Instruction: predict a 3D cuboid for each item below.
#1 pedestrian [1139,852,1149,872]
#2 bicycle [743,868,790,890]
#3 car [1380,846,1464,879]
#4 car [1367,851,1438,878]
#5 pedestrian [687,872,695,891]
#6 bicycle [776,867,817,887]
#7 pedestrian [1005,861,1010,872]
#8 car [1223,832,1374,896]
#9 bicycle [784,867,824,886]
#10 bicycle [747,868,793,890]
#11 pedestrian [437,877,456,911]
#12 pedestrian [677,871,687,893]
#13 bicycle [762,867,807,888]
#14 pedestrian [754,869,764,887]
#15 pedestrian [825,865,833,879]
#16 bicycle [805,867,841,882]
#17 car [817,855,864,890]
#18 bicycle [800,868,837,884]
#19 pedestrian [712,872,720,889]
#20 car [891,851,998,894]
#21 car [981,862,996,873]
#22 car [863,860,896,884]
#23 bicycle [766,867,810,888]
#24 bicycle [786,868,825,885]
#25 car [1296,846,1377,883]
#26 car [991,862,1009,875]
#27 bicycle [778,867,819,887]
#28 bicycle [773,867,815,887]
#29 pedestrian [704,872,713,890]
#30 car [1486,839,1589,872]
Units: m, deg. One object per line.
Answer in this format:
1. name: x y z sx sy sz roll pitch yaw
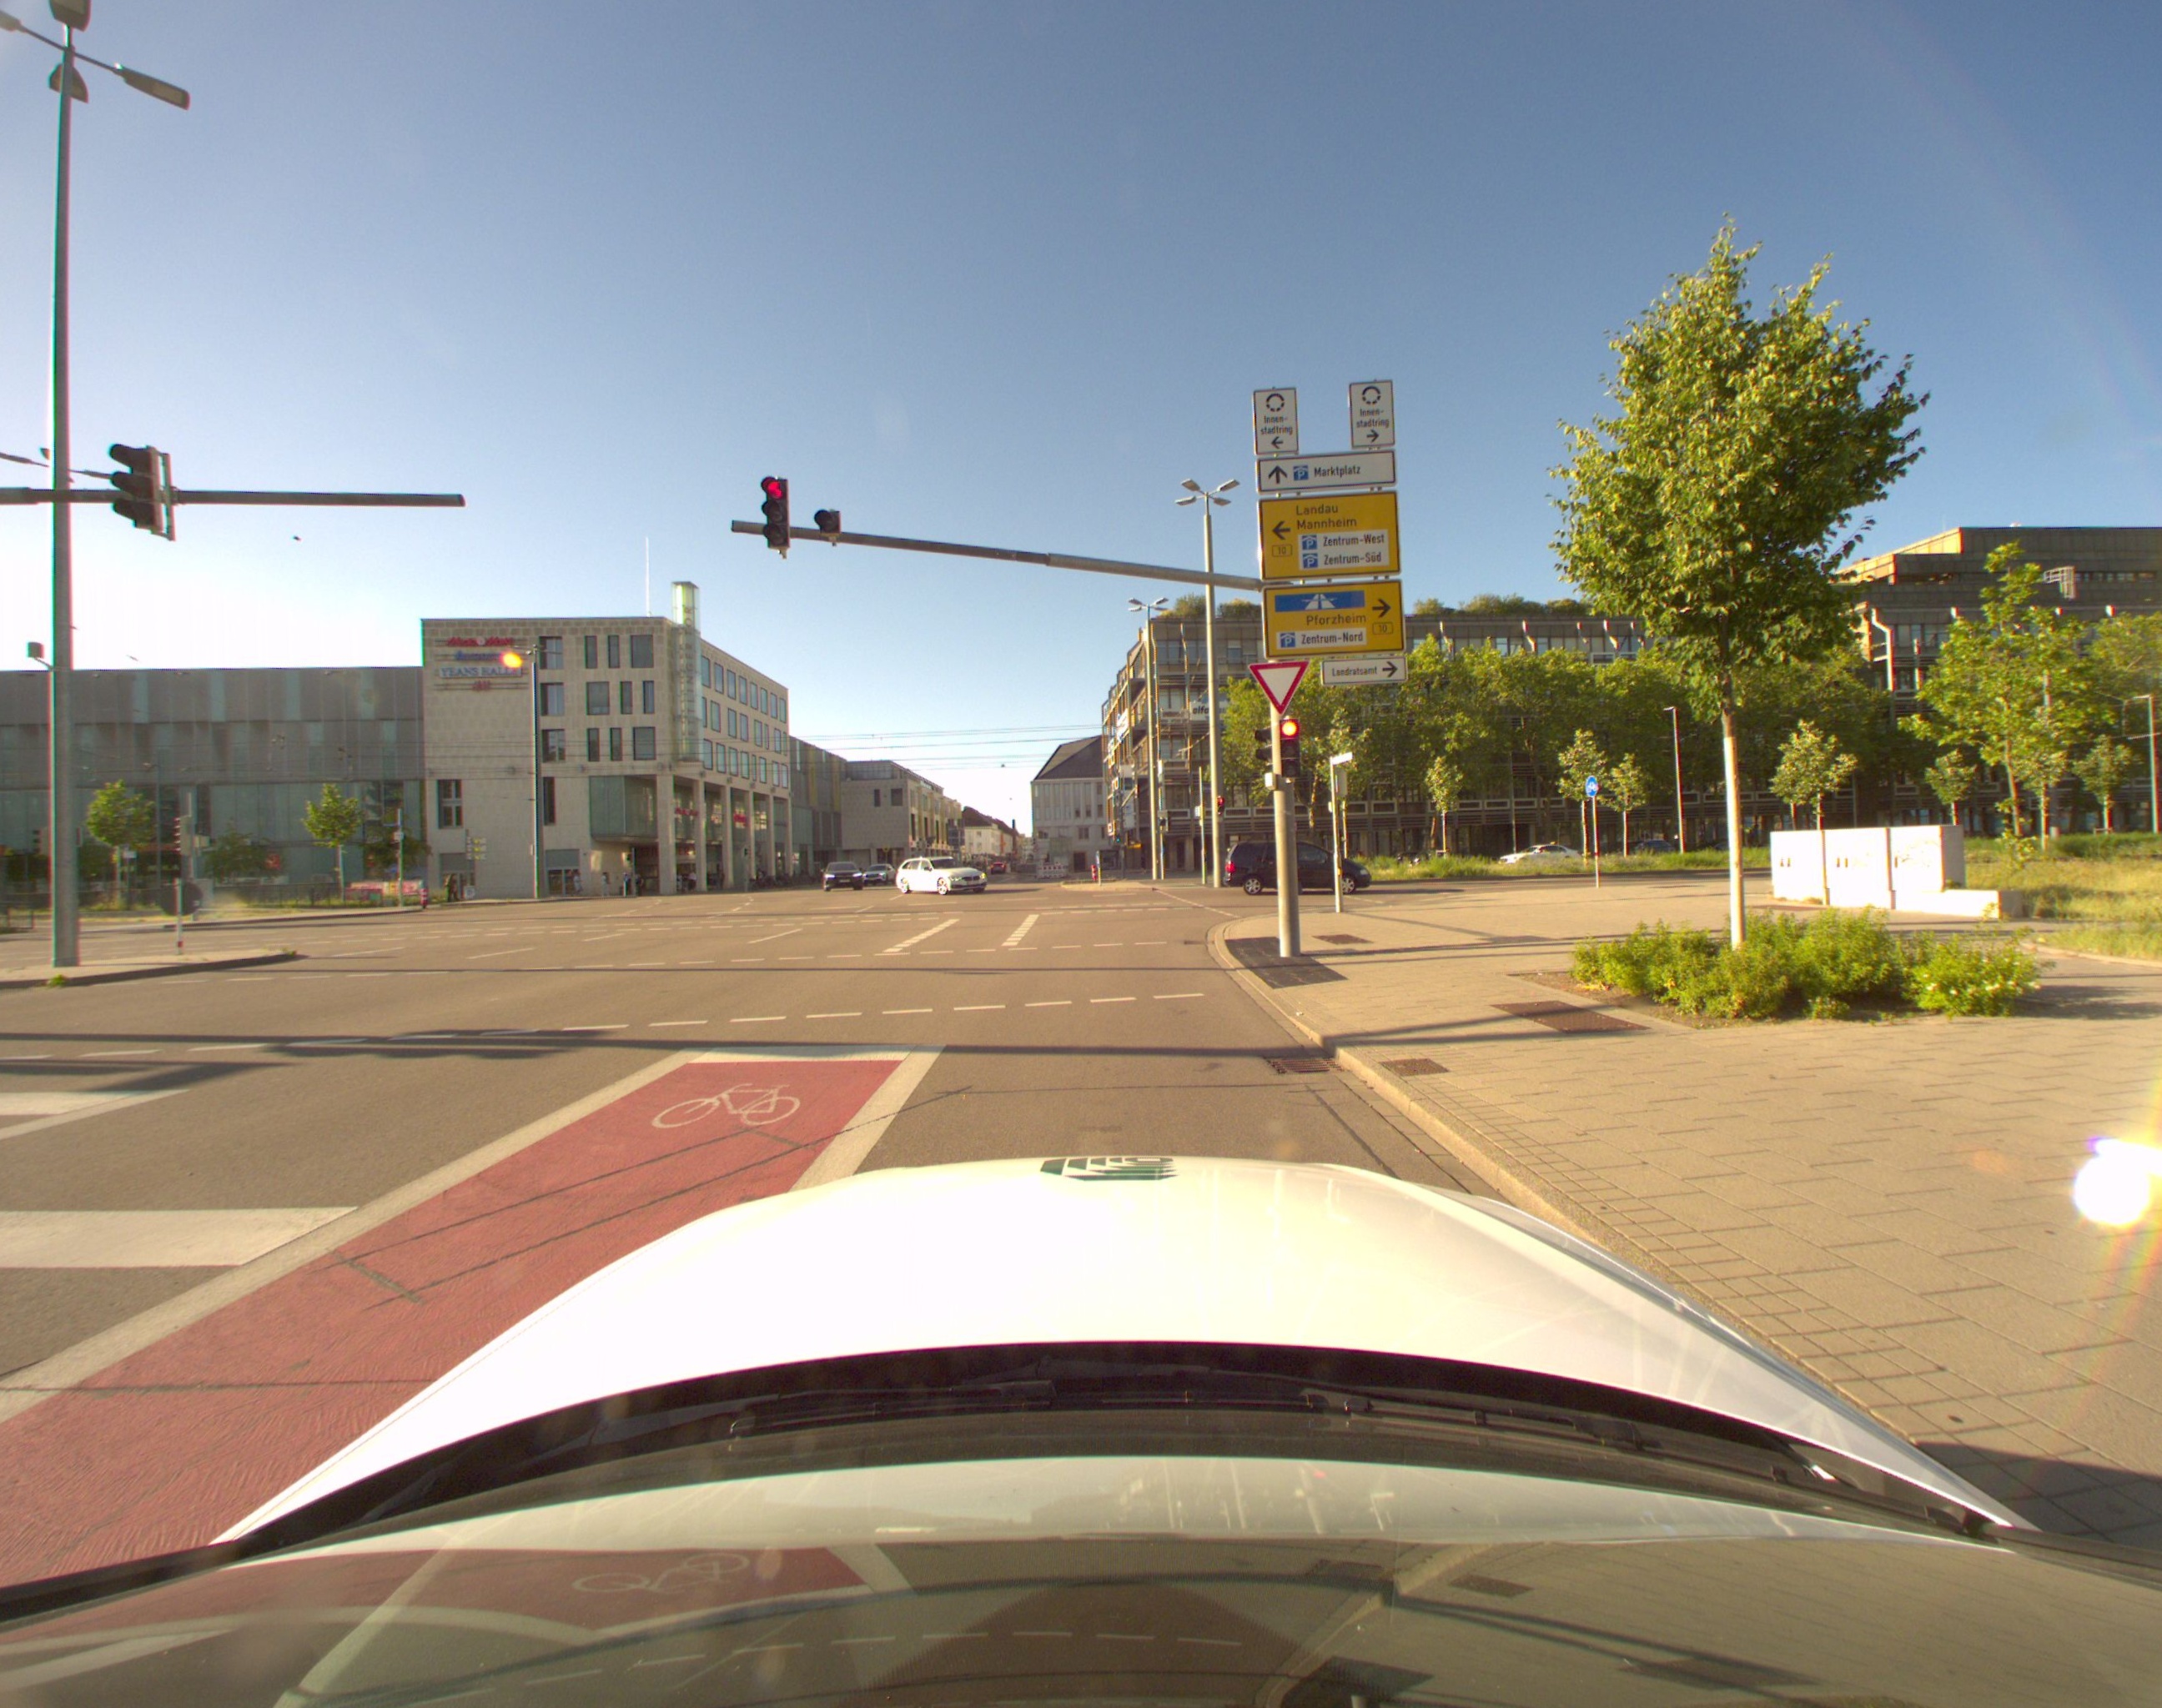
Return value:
1. pedestrian: 5.232 0.666 67.624 0.661 1.658 0.755 -2 0 -1
2. bicycle: -26.730 2.087 69.289 3.488 1.696 1.114 -2 0 -7
3. car: 21.405 0.545 51.239 4.435 2.014 1.998 0 -1 -4
4. car: 21.408 0.686 54.377 3.976 1.750 1.998 0 -1 -2
5. pedestrian: -33.442 2.356 69.777 0.428 1.585 0.498 -2 0 -3
6. bicycle: -26.854 2.188 76.853 3.491 1.696 0.984 -2 0 -10
7. pedestrian: -9.758 1.704 108.799 0.608 1.411 0.569 -2 0 -5
8. car: 6.830 0.296 25.999 4.446 1.757 2.006 -2 3 9
9. bicycle: -27.247 2.223 80.158 3.491 1.696 0.984 -2 0 -10
10. bicycle: -26.911 2.157 70.523 3.488 1.696 1.114 -2 0 -7
11. pedestrian: -32.515 2.060 41.729 0.524 1.694 0.547 -2 0 -2
12. pedestrian: -30.447 2.147 62.162 0.540 1.642 0.548 -2 0 -10
13. bicycle: -26.143 2.060 71.950 3.488 1.696 1.114 -2 0 -7
14. pedestrian: -30.364 2.264 76.883 0.786 1.642 0.691 -2 0 -17
15. pedestrian: -30.184 2.157 97.541 0.652 1.642 0.693 -2 0 -7
16. bicycle: -27.651 2.199 87.445 3.491 1.527 0.984 -2 0 -10
17. car: -12.765 0.916 43.078 2.001 1.601 4.920 -2 2 -21
18. bicycle: -27.546 2.278 85.577 3.491 1.527 0.984 -2 0 -10
19. pedestrian: -32.124 2.344 71.693 0.480 1.510 0.513 -2 0 -3
20. car: -5.448 0.738 32.148 2.011 1.528 4.646 -2 0 -41
21. car: -14.505 2.106 128.003 1.988 1.660 4.402 -3 0 -2
22. car: -15.567 1.363 63.176 1.993 1.660 4.392 -3 0 -9
23. bicycle: -26.319 2.105 73.171 3.488 1.696 1.114 -2 0 -7
24. bicycle: -27.408 2.214 81.156 3.491 1.527 0.984 -2 0 -10
25. car: 14.453 0.606 46.201 3.975 2.014 1.999 0 -1 -1
26. car: -10.788 1.861 108.856 2.195 1.607 4.320 -2 0 -4
27. bicycle: -27.042 2.199 78.062 3.491 1.696 0.984 -2 0 -10
28. bicycle: -26.679 2.170 75.757 3.491 1.696 0.984 -2 0 -10
29. pedestrian: -32.475 2.367 71.046 0.510 1.510 0.513 -2 0 -3
30. car: 28.893 0.126 51.645 5.424 2.014 2.097 0 -1 -1
